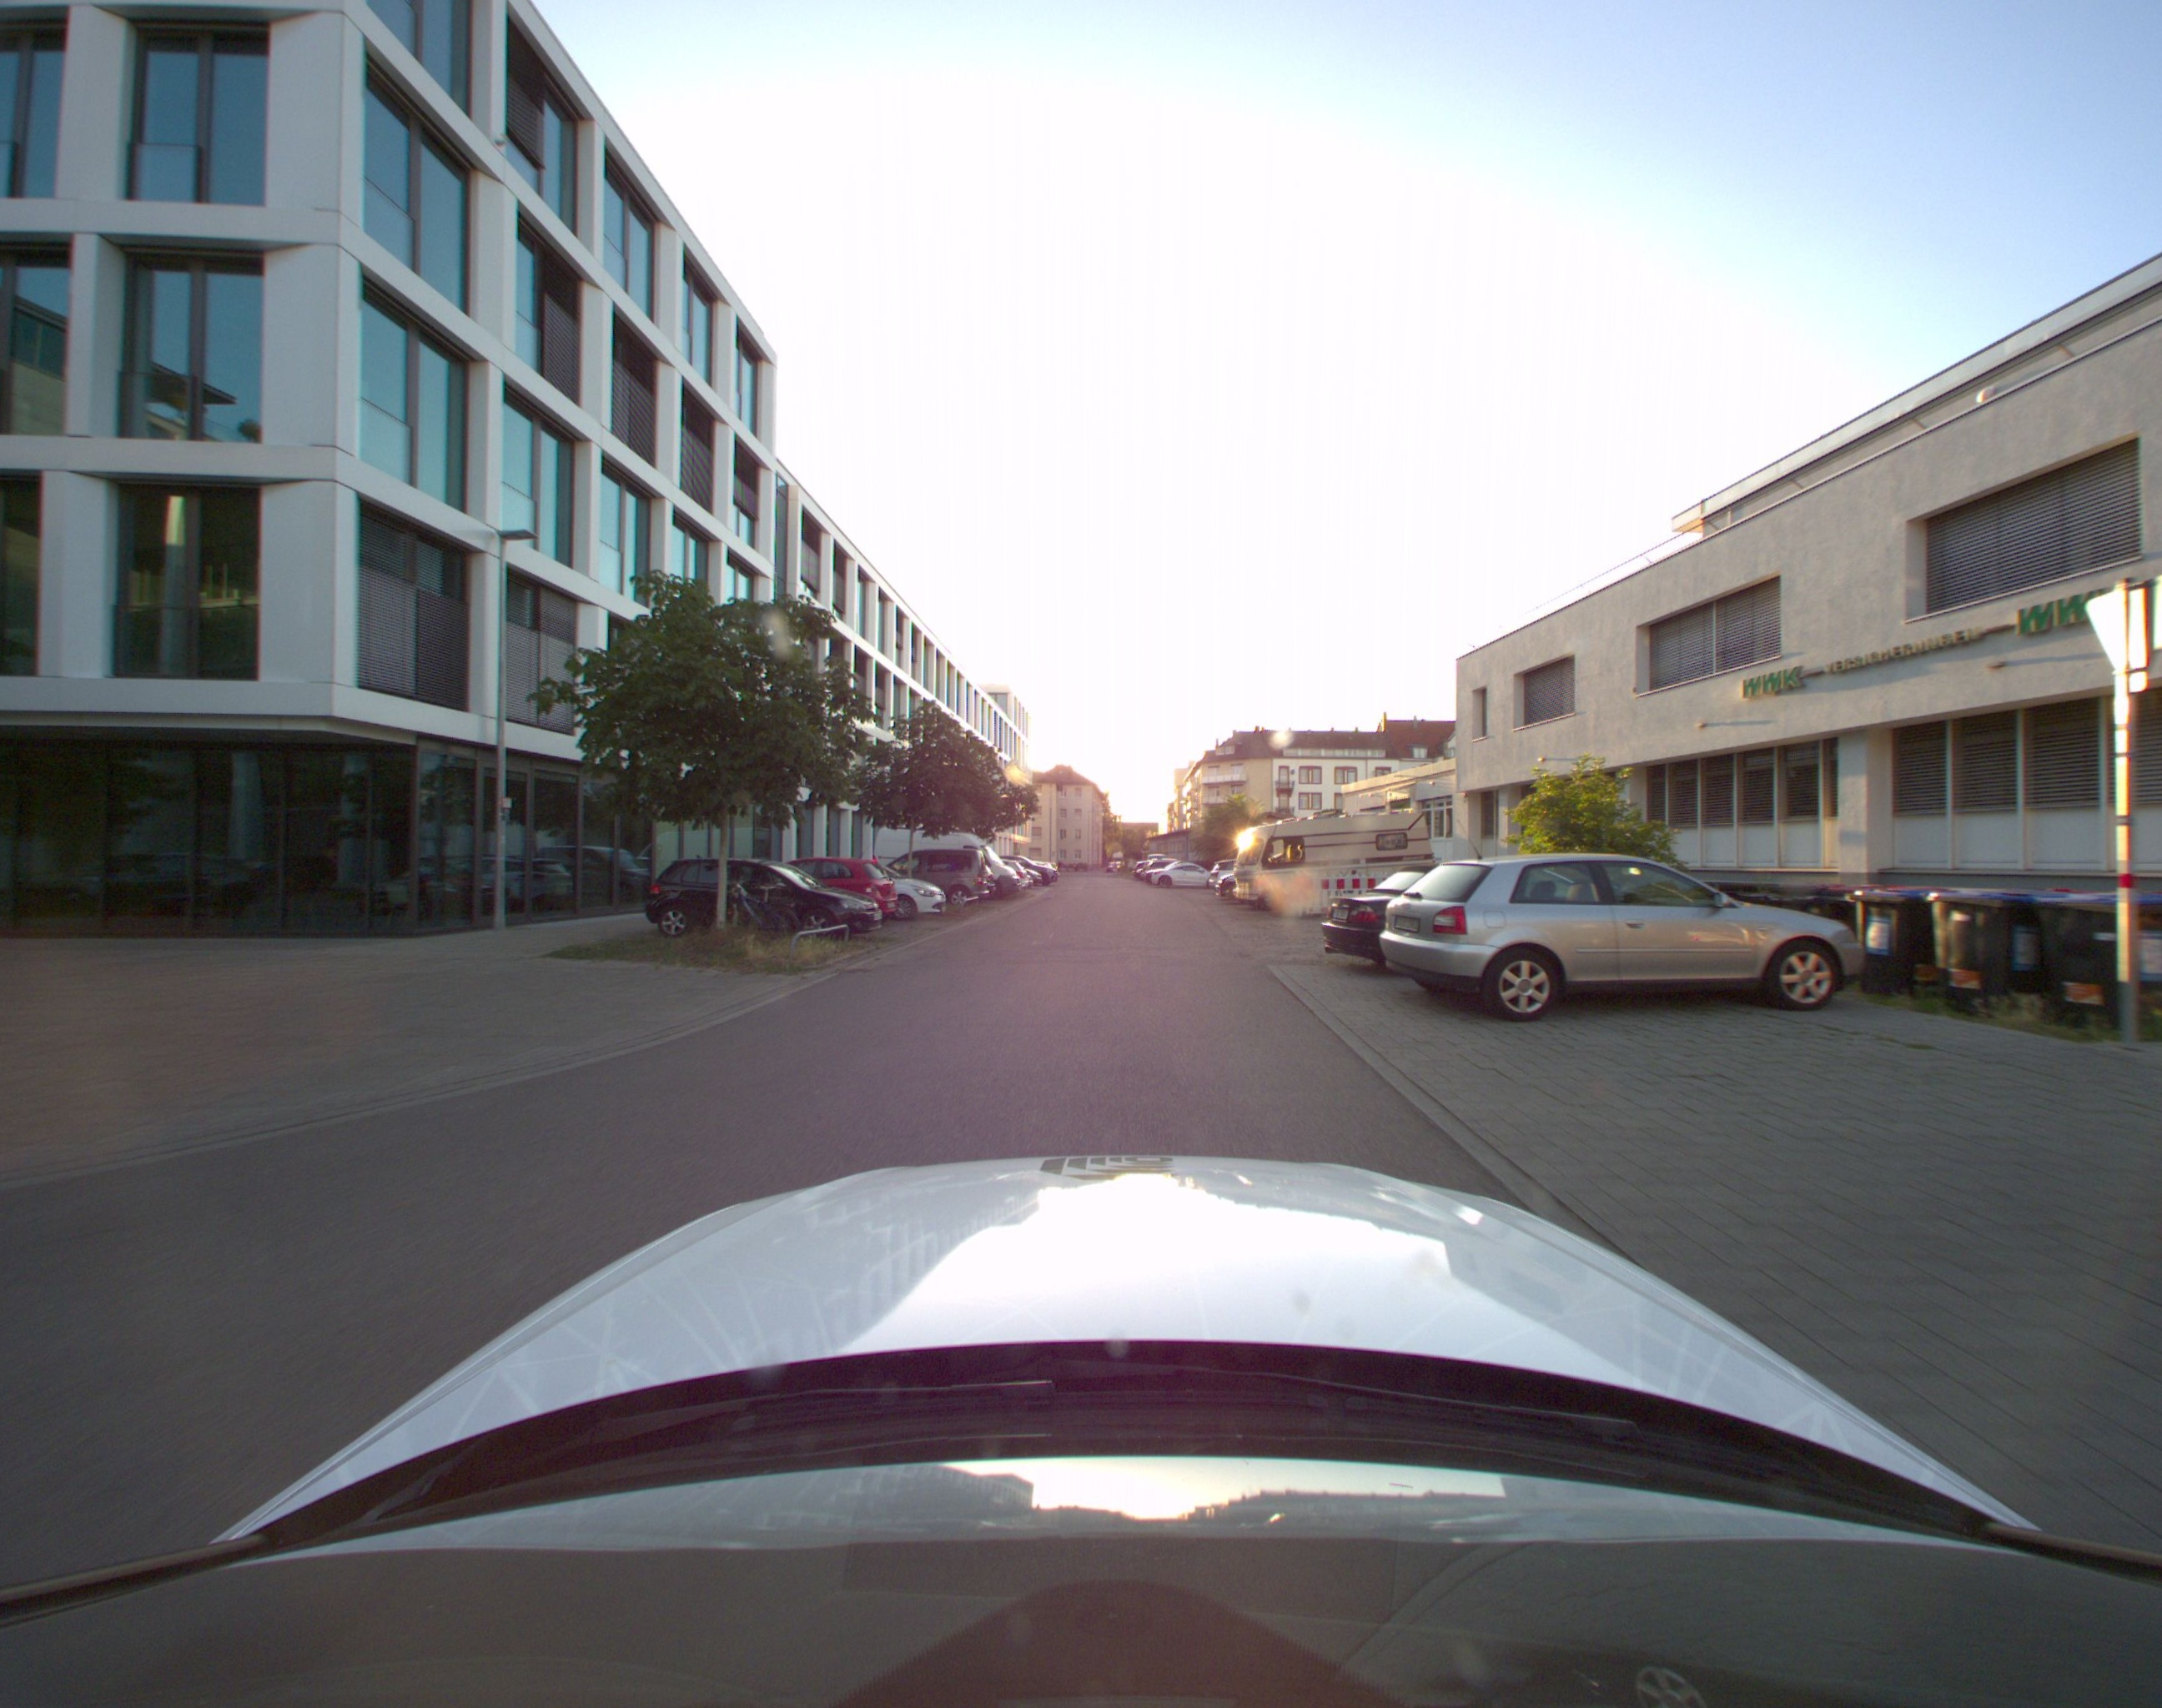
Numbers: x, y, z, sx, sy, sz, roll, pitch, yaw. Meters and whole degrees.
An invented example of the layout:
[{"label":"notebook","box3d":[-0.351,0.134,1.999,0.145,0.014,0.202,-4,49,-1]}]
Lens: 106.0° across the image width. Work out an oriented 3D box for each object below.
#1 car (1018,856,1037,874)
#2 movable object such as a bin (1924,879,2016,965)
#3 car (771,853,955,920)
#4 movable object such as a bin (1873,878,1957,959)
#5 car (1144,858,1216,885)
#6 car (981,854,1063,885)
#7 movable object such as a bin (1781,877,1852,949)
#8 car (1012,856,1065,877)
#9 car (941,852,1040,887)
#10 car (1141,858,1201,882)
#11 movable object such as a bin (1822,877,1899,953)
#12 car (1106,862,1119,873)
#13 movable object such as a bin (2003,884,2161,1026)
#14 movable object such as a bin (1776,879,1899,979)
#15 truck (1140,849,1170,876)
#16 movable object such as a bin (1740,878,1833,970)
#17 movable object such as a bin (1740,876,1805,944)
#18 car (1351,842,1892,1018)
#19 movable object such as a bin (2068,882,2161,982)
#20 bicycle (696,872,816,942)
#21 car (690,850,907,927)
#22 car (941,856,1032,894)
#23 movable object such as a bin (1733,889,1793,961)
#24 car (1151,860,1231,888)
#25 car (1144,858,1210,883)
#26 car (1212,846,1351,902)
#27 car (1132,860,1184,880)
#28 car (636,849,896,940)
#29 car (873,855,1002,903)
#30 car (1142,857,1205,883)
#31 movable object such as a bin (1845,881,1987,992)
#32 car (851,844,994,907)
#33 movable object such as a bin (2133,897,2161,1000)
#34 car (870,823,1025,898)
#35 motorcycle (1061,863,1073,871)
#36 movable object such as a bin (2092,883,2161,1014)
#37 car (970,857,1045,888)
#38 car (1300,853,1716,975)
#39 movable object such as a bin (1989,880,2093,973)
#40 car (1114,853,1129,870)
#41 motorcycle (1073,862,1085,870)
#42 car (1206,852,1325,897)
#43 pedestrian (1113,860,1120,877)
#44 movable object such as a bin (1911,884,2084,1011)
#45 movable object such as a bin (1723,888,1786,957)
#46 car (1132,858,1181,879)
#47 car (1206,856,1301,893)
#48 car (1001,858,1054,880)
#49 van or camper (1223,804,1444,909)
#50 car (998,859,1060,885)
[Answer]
[{"label":"car","box3d":[-6.205,1.228,94.653,1.792,1.979,4.689,0,0,0]},{"label":"movable object such as a bin","box3d":[10.090,0.761,9.257,0.465,0.932,0.526,-1,-1,-1]},{"label":"car","box3d":[-5.414,0.785,20.610,4.092,1.518,1.781,1,0,1]},{"label":"movable object such as a bin","box3d":[10.022,0.766,9.798,0.465,0.932,0.526,-1,-1,-1]},{"label":"car","box3d":[5.986,1.055,49.483,4.186,1.503,1.890,1,-1,2]},{"label":"car","box3d":[-3.535,0.896,49.098,4.596,1.706,2.008,1,0,5]},{"label":"movable object such as a bin","box3d":[9.906,0.778,10.986,0.465,0.932,0.526,-1,-1,-1]},{"label":"car","box3d":[-3.323,0.993,64.011,3.910,1.511,1.689,1,0,3]},{"label":"car","box3d":[-4.209,0.692,38.221,4.289,1.495,1.796,1,0,3]},{"label":"car","box3d":[6.291,1.103,57.158,3.972,1.609,1.938,1,-1,-1]},{"label":"movable object such as a bin","box3d":[9.974,0.773,10.436,0.465,0.932,0.526,-1,-1,-1]},{"label":"car","box3d":[4.462,1.866,115.625,1.838,1.473,4.080,0,-1,2]},{"label":"movable object such as a bin","box3d":[7.948,0.761,6.395,0.642,1.021,0.710,0,-1,-8]},{"label":"movable object such as a bin","box3d":[8.260,0.800,8.920,0.704,1.021,0.710,0,-1,-8]},{"label":"truck","box3d":[6.205,0.709,68.738,2.091,2.200,5.711,0,-1,1]},{"label":"movable object such as a bin","box3d":[8.270,0.805,9.558,0.620,1.021,0.559,0,-1,-8]},{"label":"movable object such as a bin","box3d":[9.808,0.785,11.570,0.465,0.932,0.526,-1,-1,-1]},{"label":"car","box3d":[4.972,0.638,7.928,4.044,1.407,1.895,-1,0,-2]},{"label":"movable object such as a bin","box3d":[10.222,0.748,7.974,0.465,0.932,0.526,-1,-1,-1]},{"label":"bicycle","box3d":[-5.252,0.845,13.200,1.689,1.065,0.567,1,0,2]},{"label":"car","box3d":[-6.148,0.716,18.079,4.092,1.518,1.846,1,0,1]},{"label":"car","box3d":[-4.070,0.898,35.495,3.693,1.495,1.708,1,0,2]},{"label":"movable object such as a bin","box3d":[8.530,0.880,10.192,0.413,0.857,0.395,0,-1,-5]},{"label":"car","box3d":[5.920,1.081,44.292,4.183,1.367,1.825,1,0,4]},{"label":"car","box3d":[6.079,1.063,51.913,3.970,1.445,1.827,1,-1,1]},{"label":"car","box3d":[6.614,0.672,27.216,4.221,1.741,1.970,-1,-1,4]},{"label":"car","box3d":[5.860,1.217,62.030,3.748,1.444,1.844,1,-1,-1]},{"label":"car","box3d":[-5.758,0.710,15.270,4.094,1.518,1.845,1,0,0]},{"label":"car","box3d":[-4.874,0.825,28.039,4.097,1.499,1.773,1,0,-2]},{"label":"car","box3d":[6.178,1.043,54.641,3.974,1.619,1.825,1,-1,-3]},{"label":"movable object such as a bin","box3d":[8.269,0.792,8.088,0.704,1.021,0.710,0,-1,-8]},{"label":"car","box3d":[-4.895,0.643,25.583,4.097,1.817,1.815,1,0,-2]},{"label":"movable object such as a bin","box3d":[10.150,0.874,7.411,0.465,0.932,0.526,-1,-1,-1]},{"label":"car","box3d":[-4.943,0.229,30.741,5.358,2.633,2.080,1,0,3]},{"label":"motorcycle","box3d":[-1.912,1.816,111.297,0.717,1.079,2.092,0,-1,25]},{"label":"movable object such as a bin","box3d":[8.808,0.753,6.642,0.642,1.021,0.445,0,-1,-8]},{"label":"car","box3d":[-3.834,0.954,42.858,3.768,1.522,1.693,1,0,0]},{"label":"car","box3d":[5.198,0.695,10.344,4.303,1.333,1.895,-1,-1,-2]},{"label":"movable object such as a bin","box3d":[10.183,0.754,8.651,0.465,0.932,0.526,-1,-1,-1]},{"label":"car","box3d":[8.096,1.478,160.922,2.608,3.269,7.705,-1,-1,4]},{"label":"motorcycle","box3d":[-0.289,1.691,113.686,0.682,1.160,2.046,0,-1,28]},{"label":"car","box3d":[6.798,0.747,30.189,3.996,1.564,1.710,-1,0,-4]},{"label":"pedestrian","box3d":[4.129,1.689,95.077,0.568,2.014,0.559,0,-1,23]},{"label":"movable object such as a bin","box3d":[7.991,0.787,7.130,0.755,1.021,0.710,0,-1,-8]},{"label":"movable object such as a bin","box3d":[8.752,0.881,10.589,0.498,0.857,0.395,0,-1,-5]},{"label":"car","box3d":[5.965,1.156,64.473,3.745,1.535,1.892,1,0,2]},{"label":"car","box3d":[7.284,0.845,34.629,3.694,1.479,1.711,-1,0,-1]},{"label":"car","box3d":[-3.848,1.091,59.443,3.640,1.511,1.689,1,0,2]},{"label":"van or camper","box3d":[7.333,0.072,24.180,5.763,2.864,2.486,-1,-1,-1]},{"label":"car","box3d":[-3.288,1.126,51.793,3.648,1.511,1.699,1,0,5]}]
